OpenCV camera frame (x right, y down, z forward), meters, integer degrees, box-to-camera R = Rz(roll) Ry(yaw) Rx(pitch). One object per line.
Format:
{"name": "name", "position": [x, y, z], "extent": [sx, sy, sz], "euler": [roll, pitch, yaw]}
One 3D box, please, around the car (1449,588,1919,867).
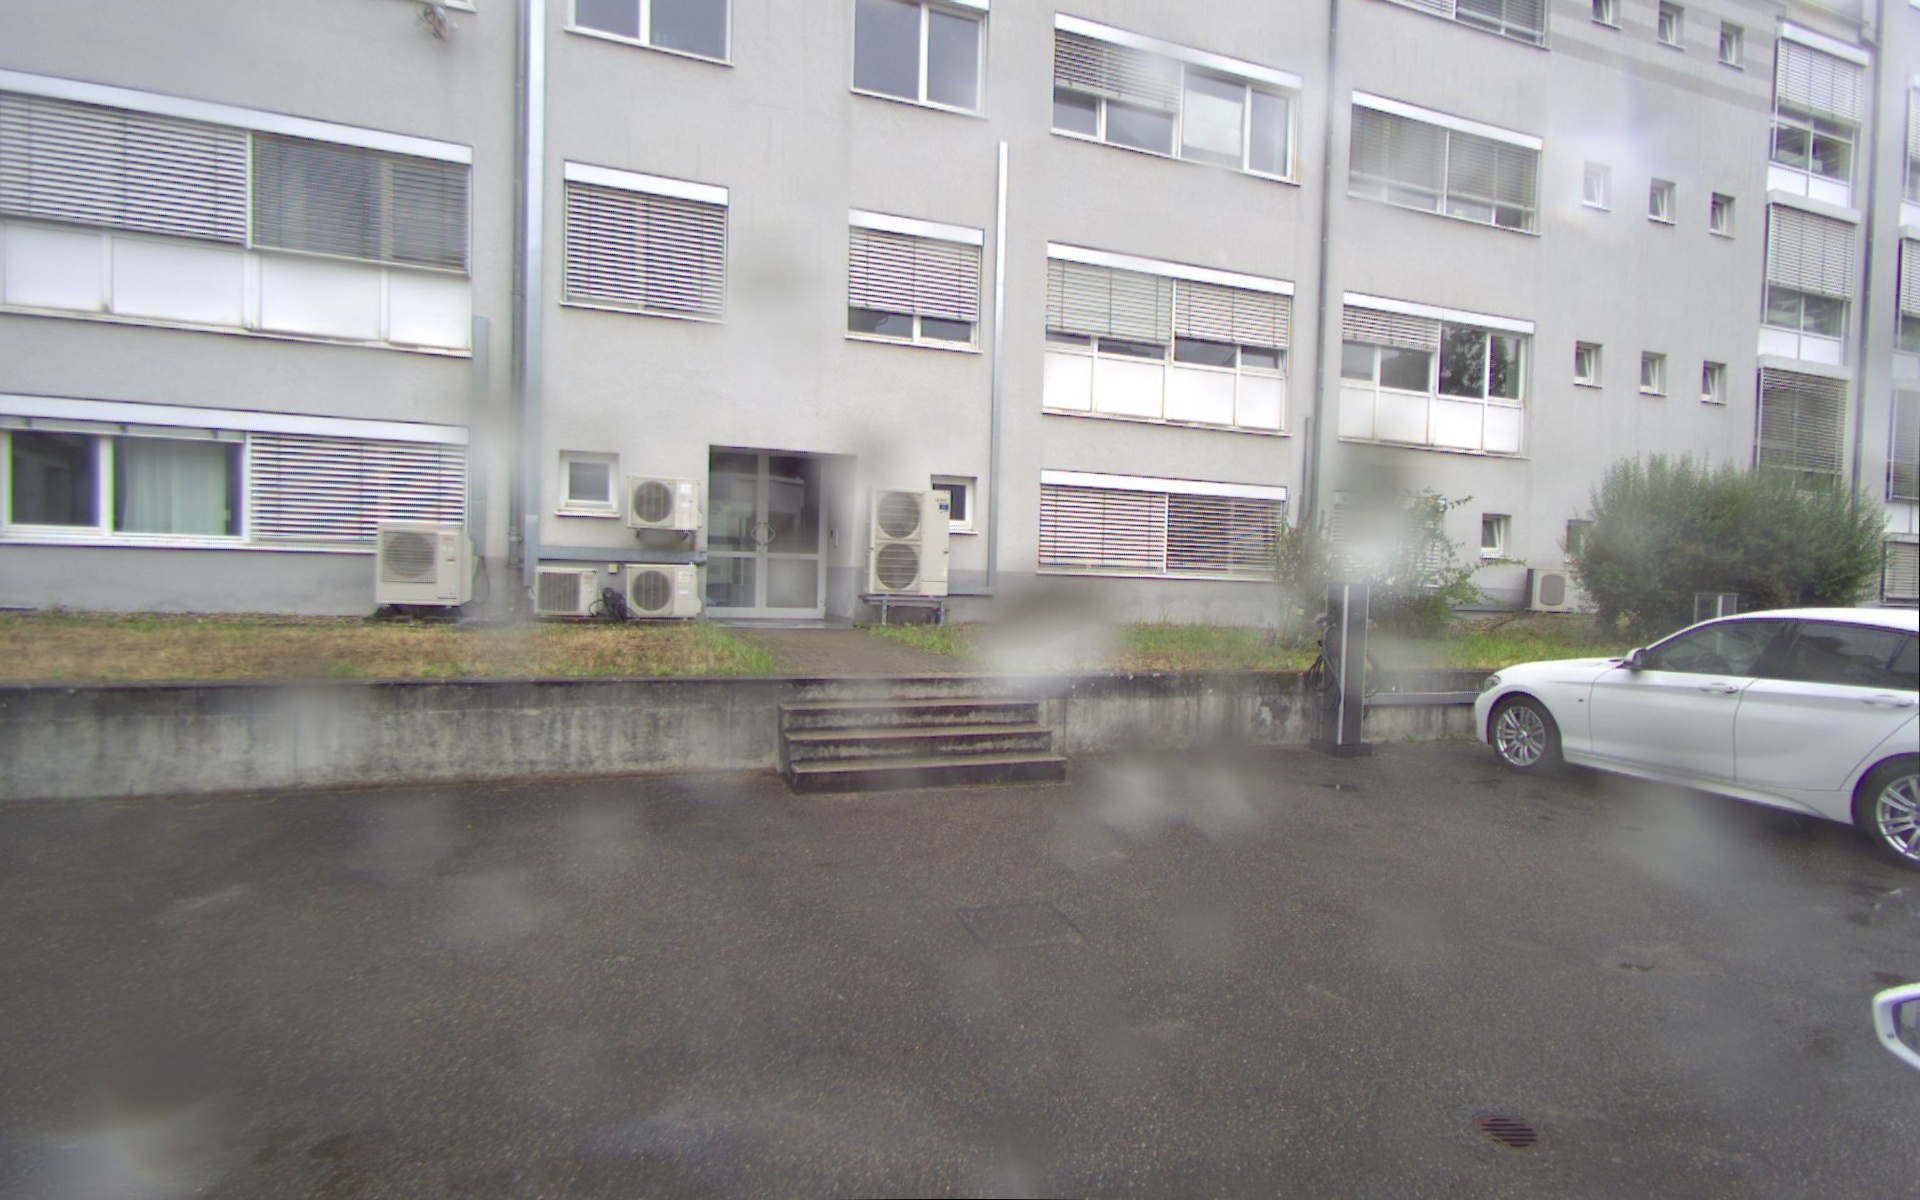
{"name": "car", "position": [5.678, 0.713, 6.906], "extent": [1.726, 1.453, 4.135], "euler": [2, 1, -19]}

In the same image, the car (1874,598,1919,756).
{"name": "car", "position": [10.580, 0.797, 8.267], "extent": [1.794, 1.504, 4.161], "euler": [0, 2, -19]}
